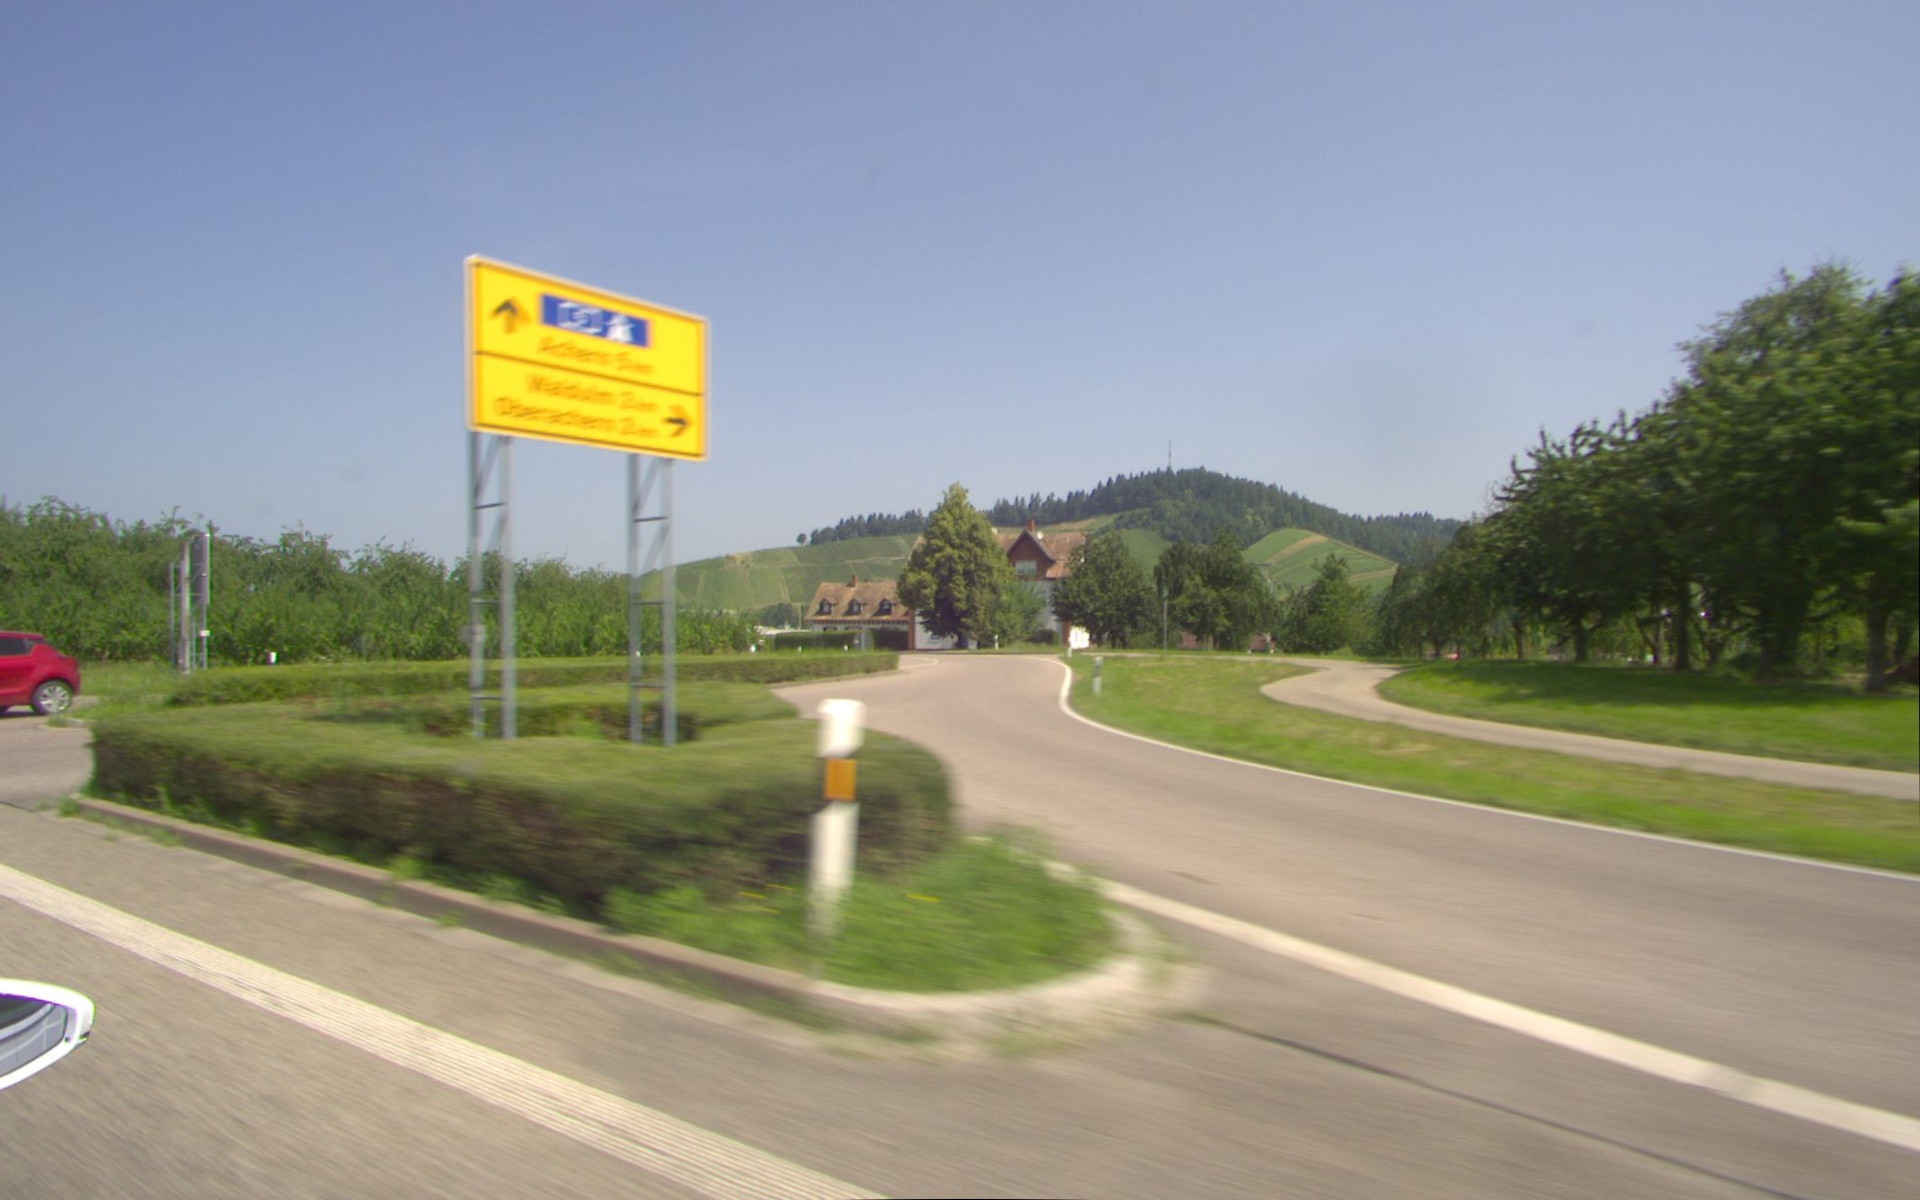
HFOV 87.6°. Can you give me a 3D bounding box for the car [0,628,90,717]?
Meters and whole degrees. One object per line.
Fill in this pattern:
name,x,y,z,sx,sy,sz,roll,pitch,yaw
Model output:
car,-17.117,1.208,16.627,1.641,1.512,3.750,0,-2,15
